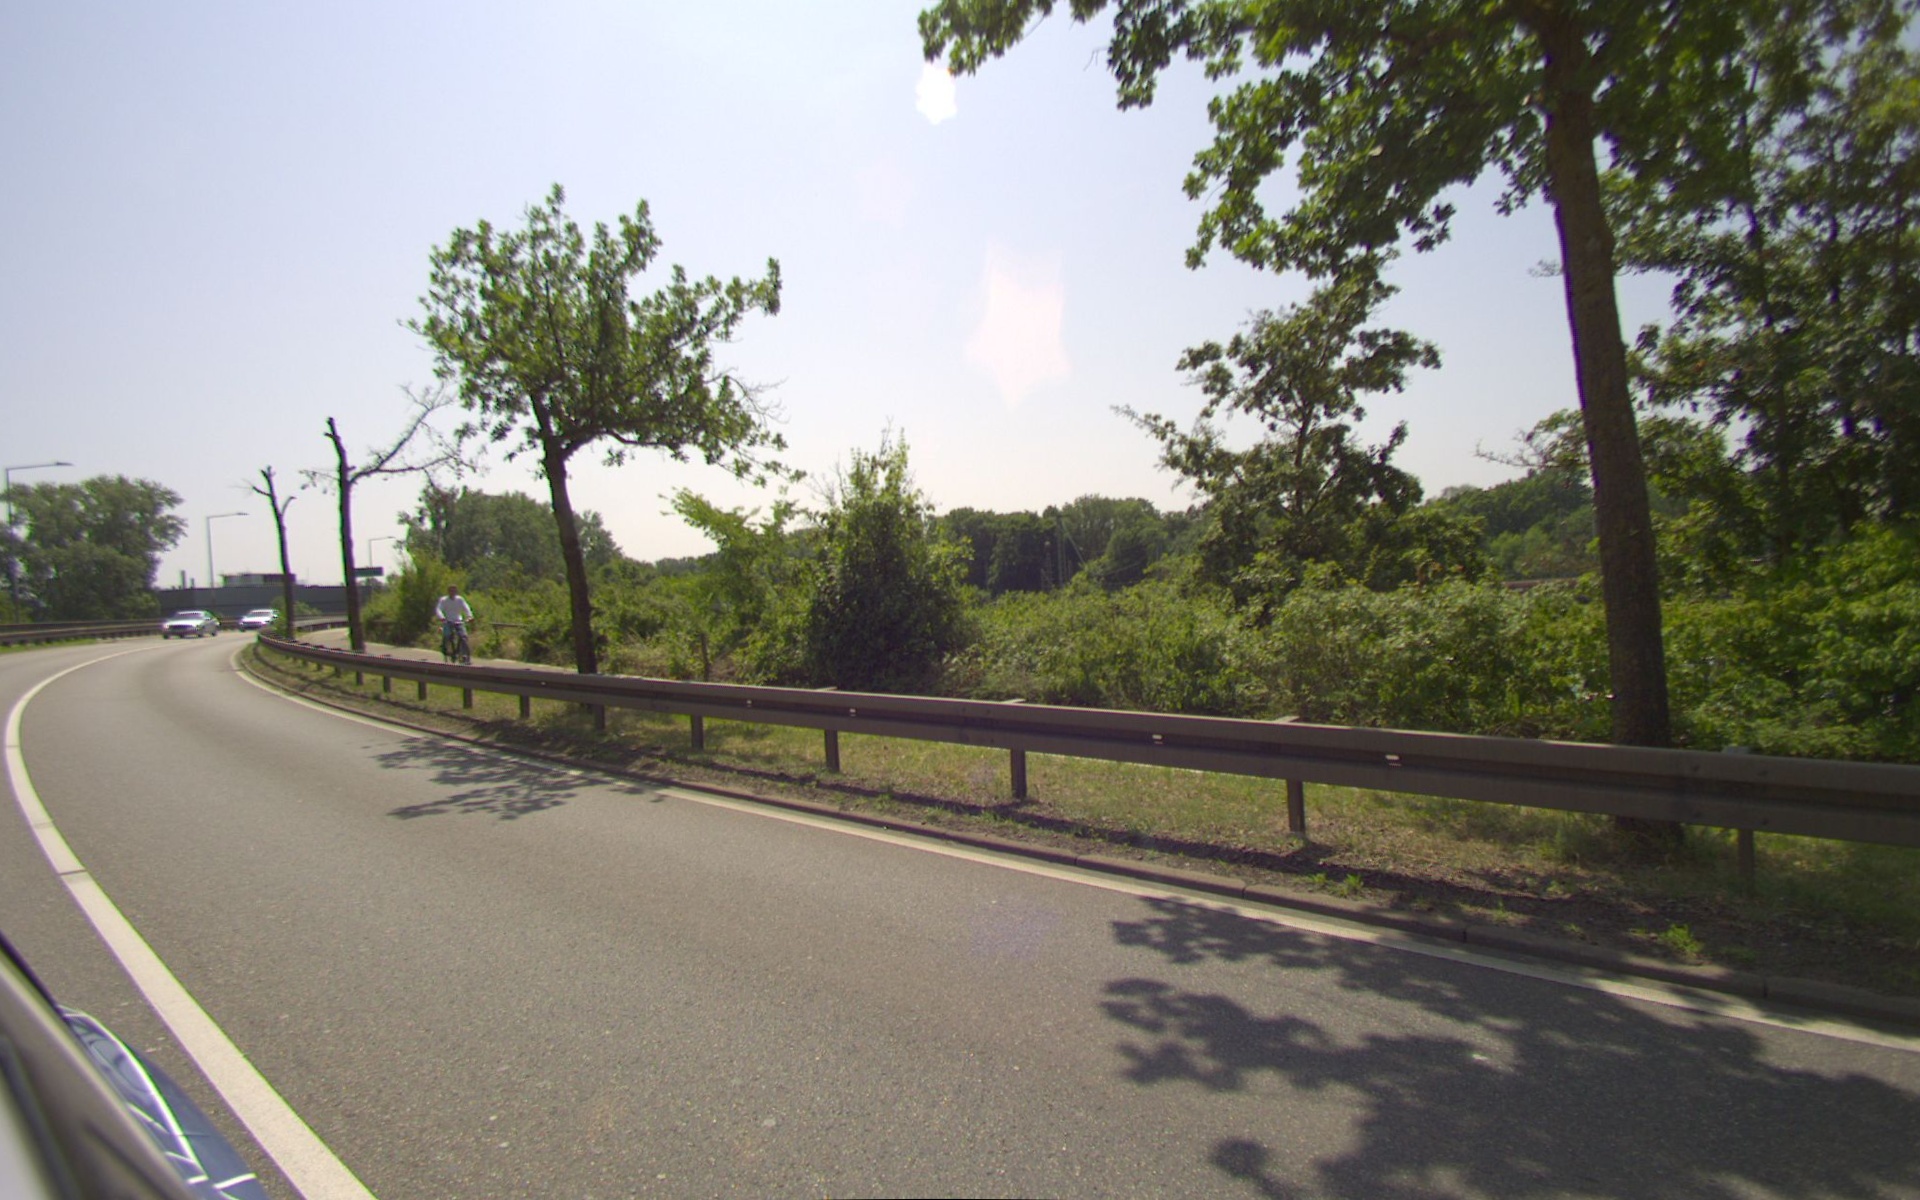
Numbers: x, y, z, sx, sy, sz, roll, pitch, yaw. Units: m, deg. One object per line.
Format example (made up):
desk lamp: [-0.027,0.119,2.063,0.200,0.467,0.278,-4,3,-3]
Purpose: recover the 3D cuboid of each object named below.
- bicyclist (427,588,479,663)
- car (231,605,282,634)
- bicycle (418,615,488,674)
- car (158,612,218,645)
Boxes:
bicyclist: [-10.209,0.508,20.368,0.720,1.477,0.825,1,-1,-43]
car: [-47.440,1.280,68.336,1.769,1.796,4.307,-2,1,-21]
bicycle: [-10.219,0.872,20.365,0.725,1.125,2.048,1,-1,-42]
car: [-41.421,1.504,54.386,1.734,1.510,4.248,-1,2,-26]
